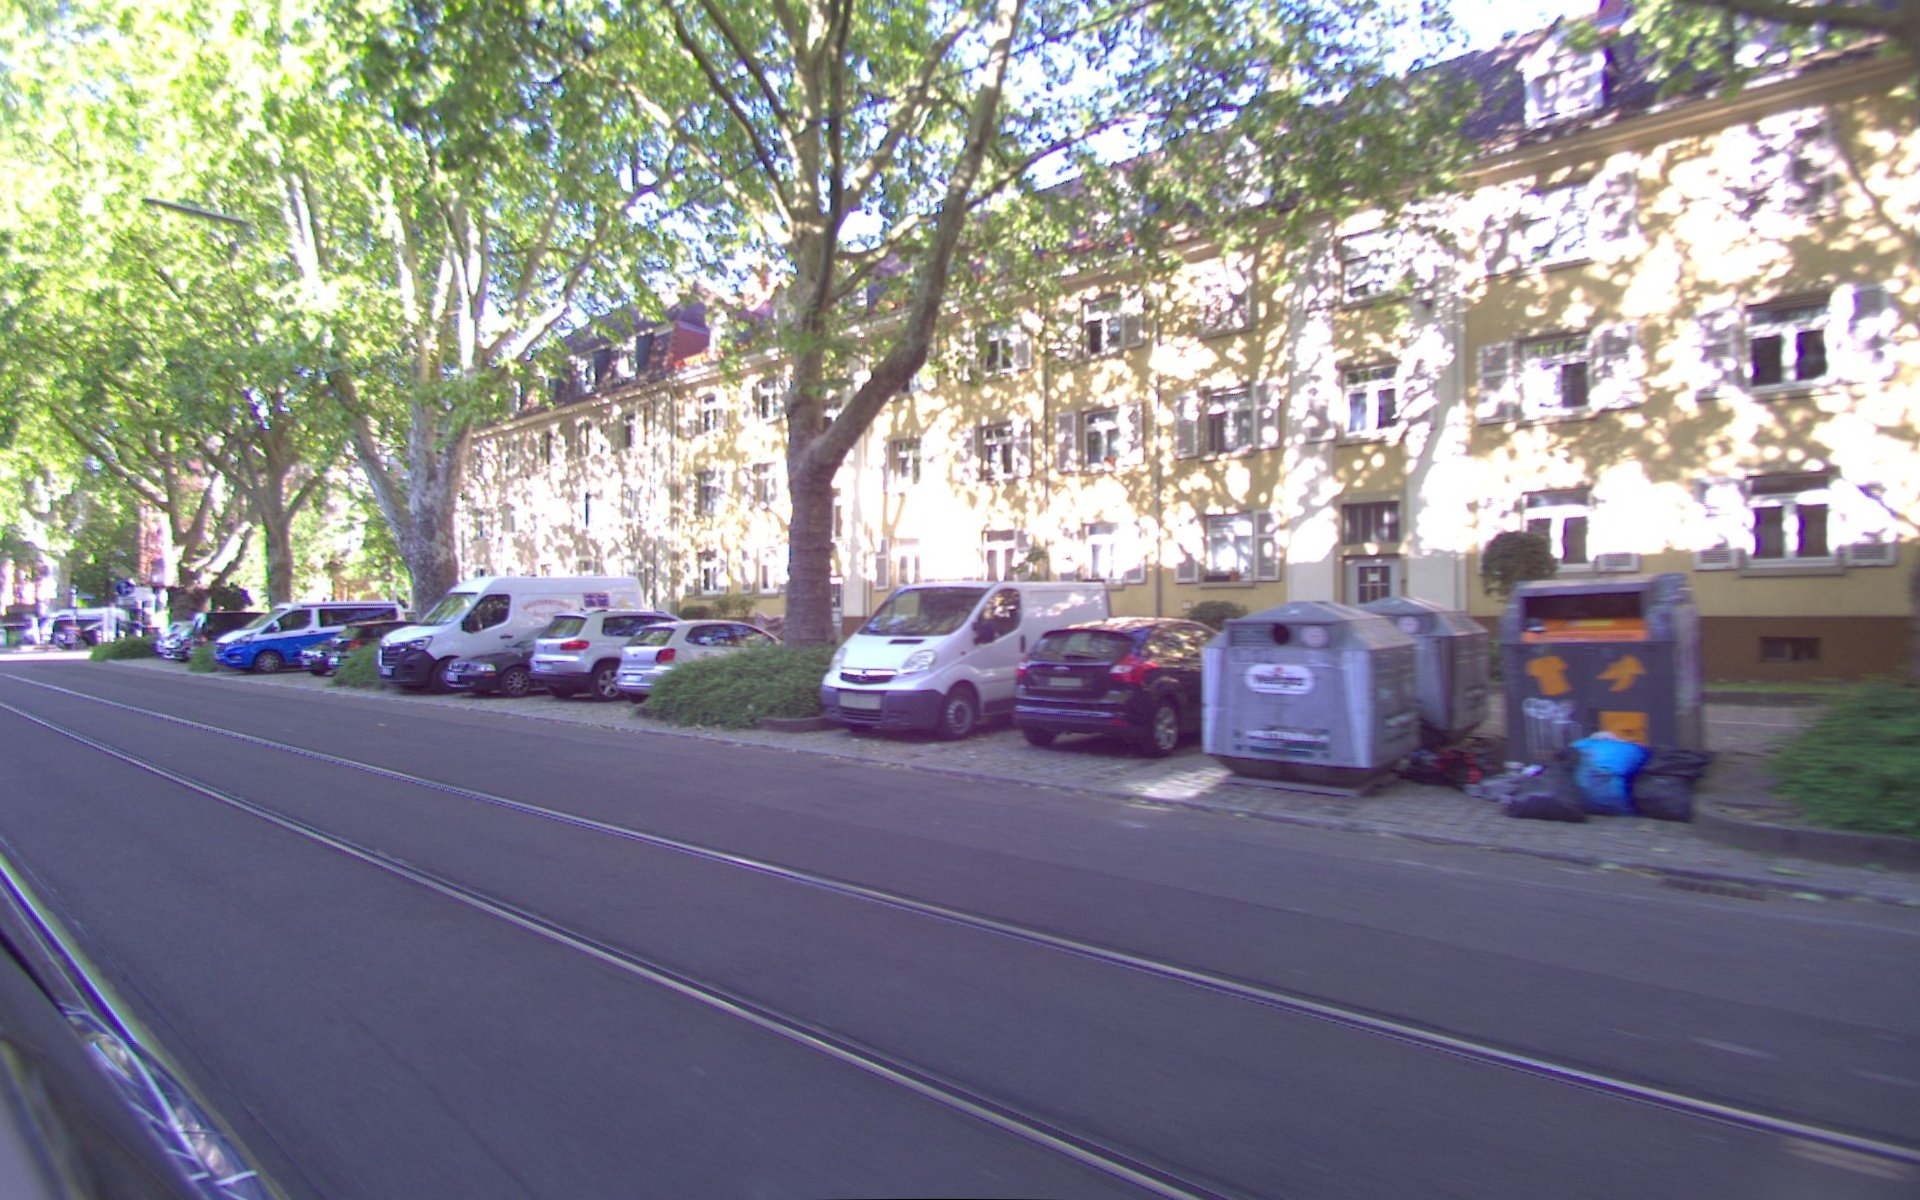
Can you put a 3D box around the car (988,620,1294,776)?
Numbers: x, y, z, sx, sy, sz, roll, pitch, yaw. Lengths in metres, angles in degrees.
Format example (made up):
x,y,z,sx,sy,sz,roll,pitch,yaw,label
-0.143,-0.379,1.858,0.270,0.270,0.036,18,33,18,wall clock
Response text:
x,y,z,sx,sy,sz,roll,pitch,yaw,label
2.246,1.007,11.880,1.861,1.509,3.807,-2,-2,41,car

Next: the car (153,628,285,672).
x,y,z,sx,sy,sz,roll,pitch,yaw,label
-27.701,1.827,37.937,1.697,1.497,3.651,-1,-1,34,car

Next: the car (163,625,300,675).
x,y,z,sx,sy,sz,roll,pitch,yaw,label
-26.173,1.765,36.428,1.796,1.636,3.649,-1,-1,36,car

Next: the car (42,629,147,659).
x,y,z,sx,sy,sz,roll,pitch,yaw,label
-47.367,2.401,55.423,1.923,1.527,4.118,-2,-2,39,car

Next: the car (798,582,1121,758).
x,y,z,sx,sy,sz,roll,pitch,yaw,label
0.186,0.804,13.670,1.959,1.960,4.613,-2,-1,38,car

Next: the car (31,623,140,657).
x,y,z,sx,sy,sz,roll,pitch,yaw,label
-49.346,2.245,57.198,2.026,1.779,4.408,-2,-2,39,car

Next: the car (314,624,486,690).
x,y,z,sx,sy,sz,roll,pitch,yaw,label
-14.664,1.439,26.621,1.612,1.577,3.642,-2,-1,42,car

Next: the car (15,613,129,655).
x,y,z,sx,sy,sz,roll,pitch,yaw,label
-53.621,2.027,61.215,2.026,2.416,4.956,-3,-2,39,car

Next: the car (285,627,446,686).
x,y,z,sx,sy,sz,roll,pitch,yaw,label
-16.495,1.508,28.191,1.692,1.471,3.500,-1,-1,34,car

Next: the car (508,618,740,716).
x,y,z,sx,sy,sz,roll,pitch,yaw,label
-6.340,1.204,19.379,1.861,1.675,3.807,-2,-2,41,car

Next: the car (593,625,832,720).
x,y,z,sx,sy,sz,roll,pitch,yaw,label
-4.352,1.209,18.173,1.861,1.509,3.807,-2,-2,41,car

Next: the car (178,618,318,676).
x,y,z,sx,sy,sz,roll,pitch,yaw,label
-24.458,1.572,34.826,1.703,1.828,3.644,-2,-1,40,car

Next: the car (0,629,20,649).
x,y,z,sx,sy,sz,roll,pitch,yaw,label
-76.636,3.084,79.468,1.809,1.527,3.917,-2,-2,39,car

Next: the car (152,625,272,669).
x,y,z,sx,sy,sz,roll,pitch,yaw,label
-29.329,1.810,39.745,3.639,1.565,1.705,0,-1,-44,car

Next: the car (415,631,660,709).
x,y,z,sx,sy,sz,roll,pitch,yaw,label
-8.392,1.329,20.391,1.752,1.409,4.219,-2,-2,41,car

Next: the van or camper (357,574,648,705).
x,y,z,sx,sy,sz,roll,pitch,yaw,label
-9.935,0.790,22.363,2.443,2.535,5.334,-2,-1,40,van or camper

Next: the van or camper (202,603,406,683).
x,y,z,sx,sy,sz,roll,pitch,yaw,label
-19.623,1.215,30.449,2.118,2.206,4.771,-2,-1,40,van or camper
